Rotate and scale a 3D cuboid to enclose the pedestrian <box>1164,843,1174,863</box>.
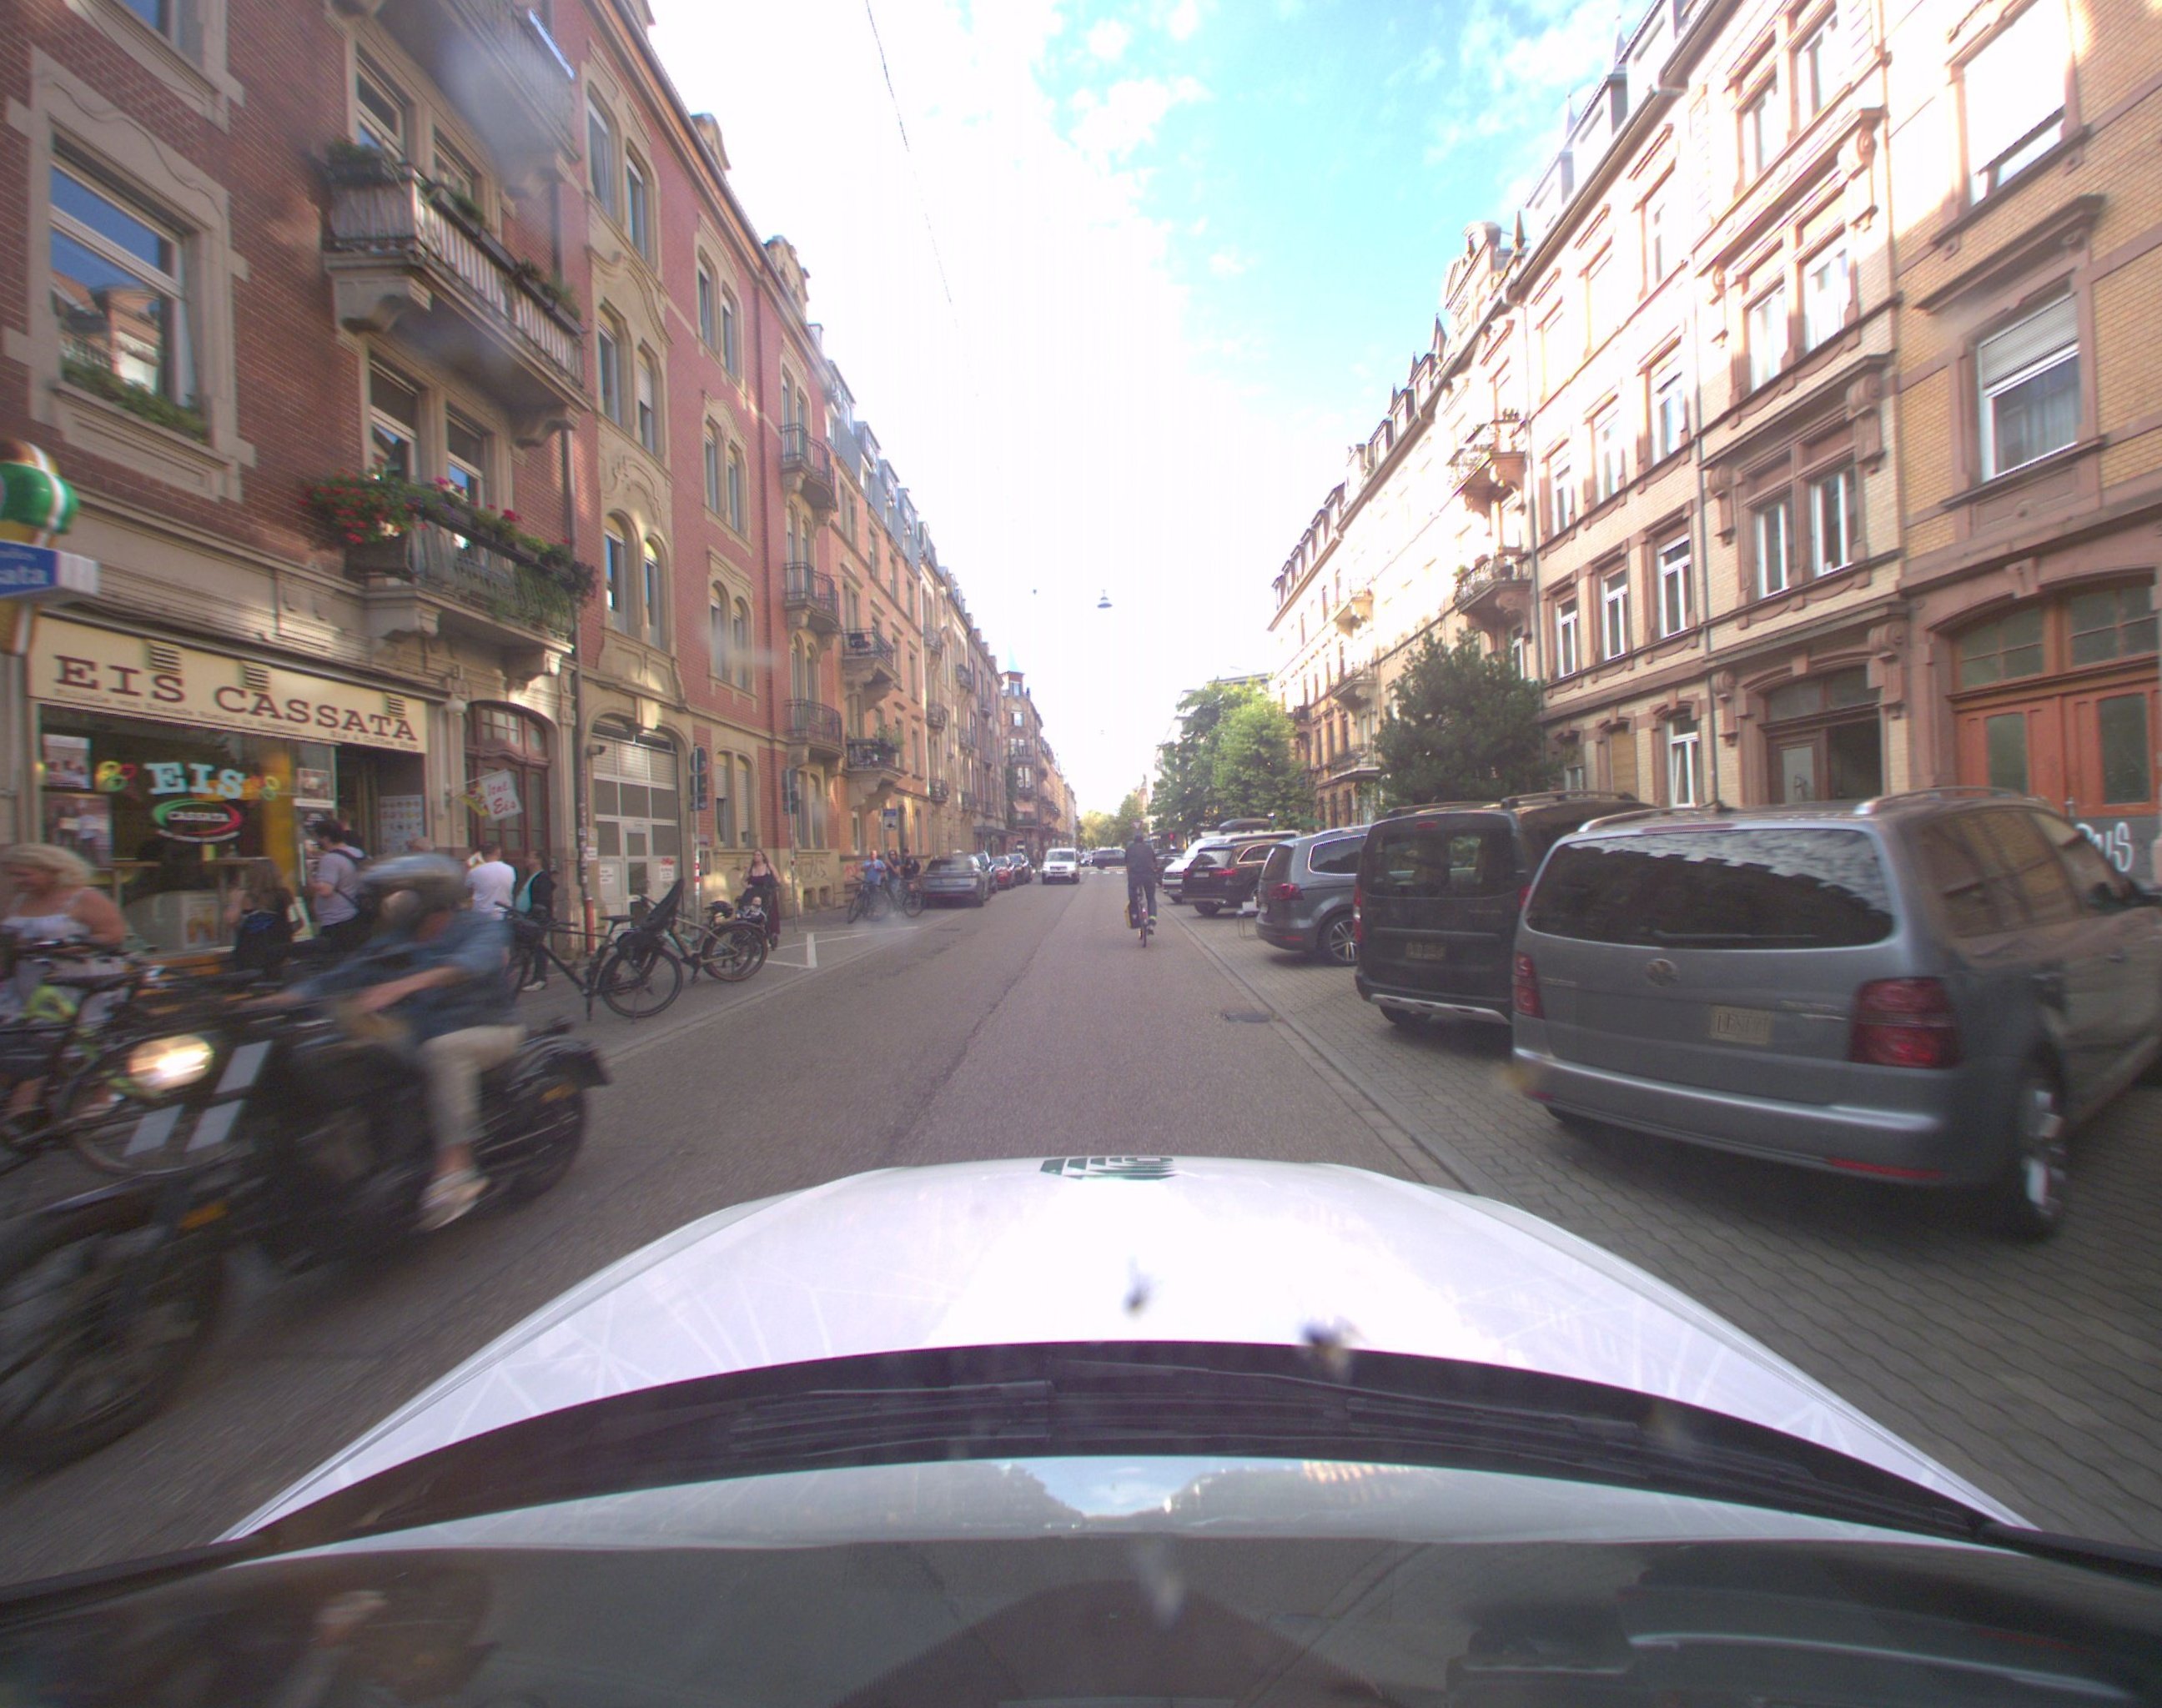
[{"bbox_3d":[8.736,-0.104,80.802,0.864,1.851,0.613,-2,0,6],"label":"pedestrian"}]

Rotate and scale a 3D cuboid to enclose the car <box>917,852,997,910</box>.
[{"bbox_3d":[-3.739,0.746,25.414,1.820,1.578,5.260,-1,0,-2],"label":"car"}]

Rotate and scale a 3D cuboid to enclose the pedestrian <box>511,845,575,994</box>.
[{"bbox_3d":[-6.381,0.743,9.680,0.567,1.696,0.641,-1,0,-29],"label":"pedestrian"}]

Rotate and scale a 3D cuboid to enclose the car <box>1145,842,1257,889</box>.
[{"bbox_3d":[4.935,0.448,33.214,4.491,1.476,1.868,-6,2,-38],"label":"car"}]

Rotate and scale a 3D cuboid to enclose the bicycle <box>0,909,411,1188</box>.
[{"bbox_3d":[-4.788,0.954,4.357,1.798,1.200,0.584,-1,0,-35],"label":"bicycle"}]

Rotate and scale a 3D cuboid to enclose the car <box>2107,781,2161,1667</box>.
[{"bbox_3d":[4.054,0.534,1.896,4.018,1.548,1.848,-5,1,-36],"label":"car"}]

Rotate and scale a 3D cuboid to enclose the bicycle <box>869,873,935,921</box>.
[{"bbox_3d":[-4.304,1.020,19.712,0.477,1.059,1.915,0,0,26],"label":"bicycle"}]

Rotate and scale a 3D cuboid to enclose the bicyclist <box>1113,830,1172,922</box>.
[{"bbox_3d":[1.023,0.363,13.696,0.930,1.484,0.747,-1,0,1],"label":"bicyclist"}]

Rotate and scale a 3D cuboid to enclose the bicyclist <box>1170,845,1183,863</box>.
[{"bbox_3d":[8.986,-0.003,76.612,0.794,1.665,0.847,-1,0,-37],"label":"bicyclist"}]

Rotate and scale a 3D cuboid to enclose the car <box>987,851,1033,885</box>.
[{"bbox_3d":[-3.618,0.696,42.287,1.784,1.628,4.849,-2,0,2],"label":"car"}]

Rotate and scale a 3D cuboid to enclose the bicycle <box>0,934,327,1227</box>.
[{"bbox_3d":[-4.589,1.004,3.738,1.577,1.120,0.584,-1,0,-35],"label":"bicycle"}]

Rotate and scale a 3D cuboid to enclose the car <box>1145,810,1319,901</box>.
[{"bbox_3d":[4.640,0.001,24.687,5.178,2.405,1.899,-3,0,-32],"label":"car"}]

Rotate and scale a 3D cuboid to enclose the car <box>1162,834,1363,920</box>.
[{"bbox_3d":[4.253,0.457,18.882,4.475,1.732,1.979,-2,0,-34],"label":"car"}]

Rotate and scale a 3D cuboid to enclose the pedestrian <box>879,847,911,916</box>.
[{"bbox_3d":[-4.690,0.680,20.481,0.568,1.709,0.661,-1,0,-33],"label":"pedestrian"}]

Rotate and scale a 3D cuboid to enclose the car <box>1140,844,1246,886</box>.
[{"bbox_3d":[4.987,0.480,36.118,4.487,1.464,1.860,-5,2,-33],"label":"car"}]

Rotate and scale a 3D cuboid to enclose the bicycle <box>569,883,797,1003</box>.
[{"bbox_3d":[-4.618,0.970,9.626,0.798,1.159,2.284,-1,0,39],"label":"bicycle"}]

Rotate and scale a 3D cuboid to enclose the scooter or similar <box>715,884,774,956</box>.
[{"bbox_3d":[-5.373,1.036,13.049,0.604,1.055,0.921,-1,0,-4],"label":"scooter or similar"}]

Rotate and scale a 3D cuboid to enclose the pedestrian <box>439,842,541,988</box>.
[{"bbox_3d":[-7.173,0.714,9.917,0.661,1.696,0.764,-1,0,1],"label":"pedestrian"}]

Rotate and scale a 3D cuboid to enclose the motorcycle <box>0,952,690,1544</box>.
[{"bbox_3d":[-2.384,1.030,3.063,0.792,0.995,2.495,-1,0,-5],"label":"motorcycle"}]

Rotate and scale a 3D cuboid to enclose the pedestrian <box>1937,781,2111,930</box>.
[{"bbox_3d":[10.198,0.010,8.842,0.926,1.497,0.811,-3,0,-6],"label":"pedestrian"}]

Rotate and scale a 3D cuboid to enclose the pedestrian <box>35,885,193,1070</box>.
[{"bbox_3d":[-7.241,0.903,6.115,0.699,1.313,0.372,-1,0,-3],"label":"pedestrian"}]

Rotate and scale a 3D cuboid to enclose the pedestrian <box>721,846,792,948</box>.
[{"bbox_3d":[-5.481,0.706,13.793,0.910,1.661,0.826,-1,0,-7],"label":"pedestrian"}]

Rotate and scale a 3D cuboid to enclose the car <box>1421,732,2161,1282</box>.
[{"bbox_3d":[3.967,0.395,4.366,4.012,1.741,1.822,-4,0,-30],"label":"car"}]

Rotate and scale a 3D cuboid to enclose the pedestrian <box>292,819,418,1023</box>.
[{"bbox_3d":[-6.970,0.605,7.856,0.765,1.854,0.659,-1,0,-30],"label":"pedestrian"}]

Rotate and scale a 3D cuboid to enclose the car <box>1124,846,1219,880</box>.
[{"bbox_3d":[4.946,0.465,44.544,4.779,1.456,2.039,-5,2,-27],"label":"car"}]

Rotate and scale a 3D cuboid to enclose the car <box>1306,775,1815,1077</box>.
[{"bbox_3d":[4.211,0.375,6.955,4.418,1.822,1.738,-4,0,-31],"label":"car"}]

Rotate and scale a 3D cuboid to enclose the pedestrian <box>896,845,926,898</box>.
[{"bbox_3d":[-5.910,0.606,28.344,0.752,1.808,0.864,-1,0,5],"label":"pedestrian"}]

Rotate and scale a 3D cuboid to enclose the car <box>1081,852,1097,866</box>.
[{"bbox_3d":[0.855,0.534,88.557,1.744,1.436,4.211,-1,-1,0],"label":"car"}]

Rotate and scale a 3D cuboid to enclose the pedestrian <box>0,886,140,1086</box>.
[{"bbox_3d":[-7.224,0.901,5.704,0.716,1.313,0.439,-1,0,-3],"label":"pedestrian"}]

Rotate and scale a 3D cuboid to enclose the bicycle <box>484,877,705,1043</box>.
[{"bbox_3d":[-4.413,0.903,7.465,1.684,1.322,0.522,-1,0,-35],"label":"bicycle"}]

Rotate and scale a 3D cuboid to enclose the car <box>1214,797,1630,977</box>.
[{"bbox_3d":[4.261,0.363,10.702,4.621,1.784,1.810,-5,2,0],"label":"car"}]

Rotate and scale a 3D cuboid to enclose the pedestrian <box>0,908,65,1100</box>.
[{"bbox_3d":[-7.205,0.968,5.182,0.706,1.196,0.585,-1,0,-3],"label":"pedestrian"}]

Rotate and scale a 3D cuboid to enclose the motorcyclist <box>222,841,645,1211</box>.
[{"bbox_3d":[-2.451,0.587,3.226,1.011,1.245,0.802,-1,0,-5],"label":"motorcyclist"}]

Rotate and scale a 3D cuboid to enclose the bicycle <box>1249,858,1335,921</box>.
[{"bbox_3d":[4.213,0.694,16.412,0.407,1.182,1.899,-3,0,-30],"label":"bicycle"}]

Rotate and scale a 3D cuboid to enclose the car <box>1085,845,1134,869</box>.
[{"bbox_3d":[2.372,0.261,68.512,3.973,1.882,2.000,-1,0,0],"label":"car"}]

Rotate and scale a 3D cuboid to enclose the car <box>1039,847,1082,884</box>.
[{"bbox_3d":[-1.009,0.556,42.689,1.910,1.828,4.440,-1,0,2],"label":"car"}]

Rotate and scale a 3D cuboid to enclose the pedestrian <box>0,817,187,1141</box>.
[{"bbox_3d":[-5.996,0.677,4.816,0.600,1.751,0.728,-1,0,12],"label":"pedestrian"}]

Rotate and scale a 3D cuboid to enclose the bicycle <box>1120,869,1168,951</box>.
[{"bbox_3d":[1.008,0.875,13.608,0.663,1.178,2.498,-1,0,2],"label":"bicycle"}]

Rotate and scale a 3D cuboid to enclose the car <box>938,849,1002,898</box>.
[{"bbox_3d":[-4.136,0.674,31.081,1.868,1.681,4.891,-1,1,-2],"label":"car"}]

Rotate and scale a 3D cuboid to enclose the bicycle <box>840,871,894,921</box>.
[{"bbox_3d":[-5.069,0.967,19.407,0.490,1.095,1.910,0,0,11],"label":"bicycle"}]

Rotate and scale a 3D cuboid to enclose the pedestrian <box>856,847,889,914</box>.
[{"bbox_3d":[-5.275,0.668,20.622,0.683,1.661,0.546,-1,0,-29],"label":"pedestrian"}]

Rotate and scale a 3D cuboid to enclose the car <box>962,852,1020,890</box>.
[{"bbox_3d":[-3.978,0.743,36.818,1.987,1.545,4.427,-2,0,1],"label":"car"}]

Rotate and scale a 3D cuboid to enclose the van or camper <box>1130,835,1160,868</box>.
[{"bbox_3d":[6.251,-0.285,79.921,2.524,3.037,4.457,-2,0,-1],"label":"van or camper"}]

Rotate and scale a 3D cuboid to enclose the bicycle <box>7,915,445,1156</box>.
[{"bbox_3d":[-5.002,0.994,4.949,1.745,1.120,0.549,-1,0,-35],"label":"bicycle"}]

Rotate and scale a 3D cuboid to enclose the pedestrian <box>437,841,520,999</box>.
[{"bbox_3d":[-6.760,0.704,9.170,0.668,1.696,0.580,-1,0,-29],"label":"pedestrian"}]
